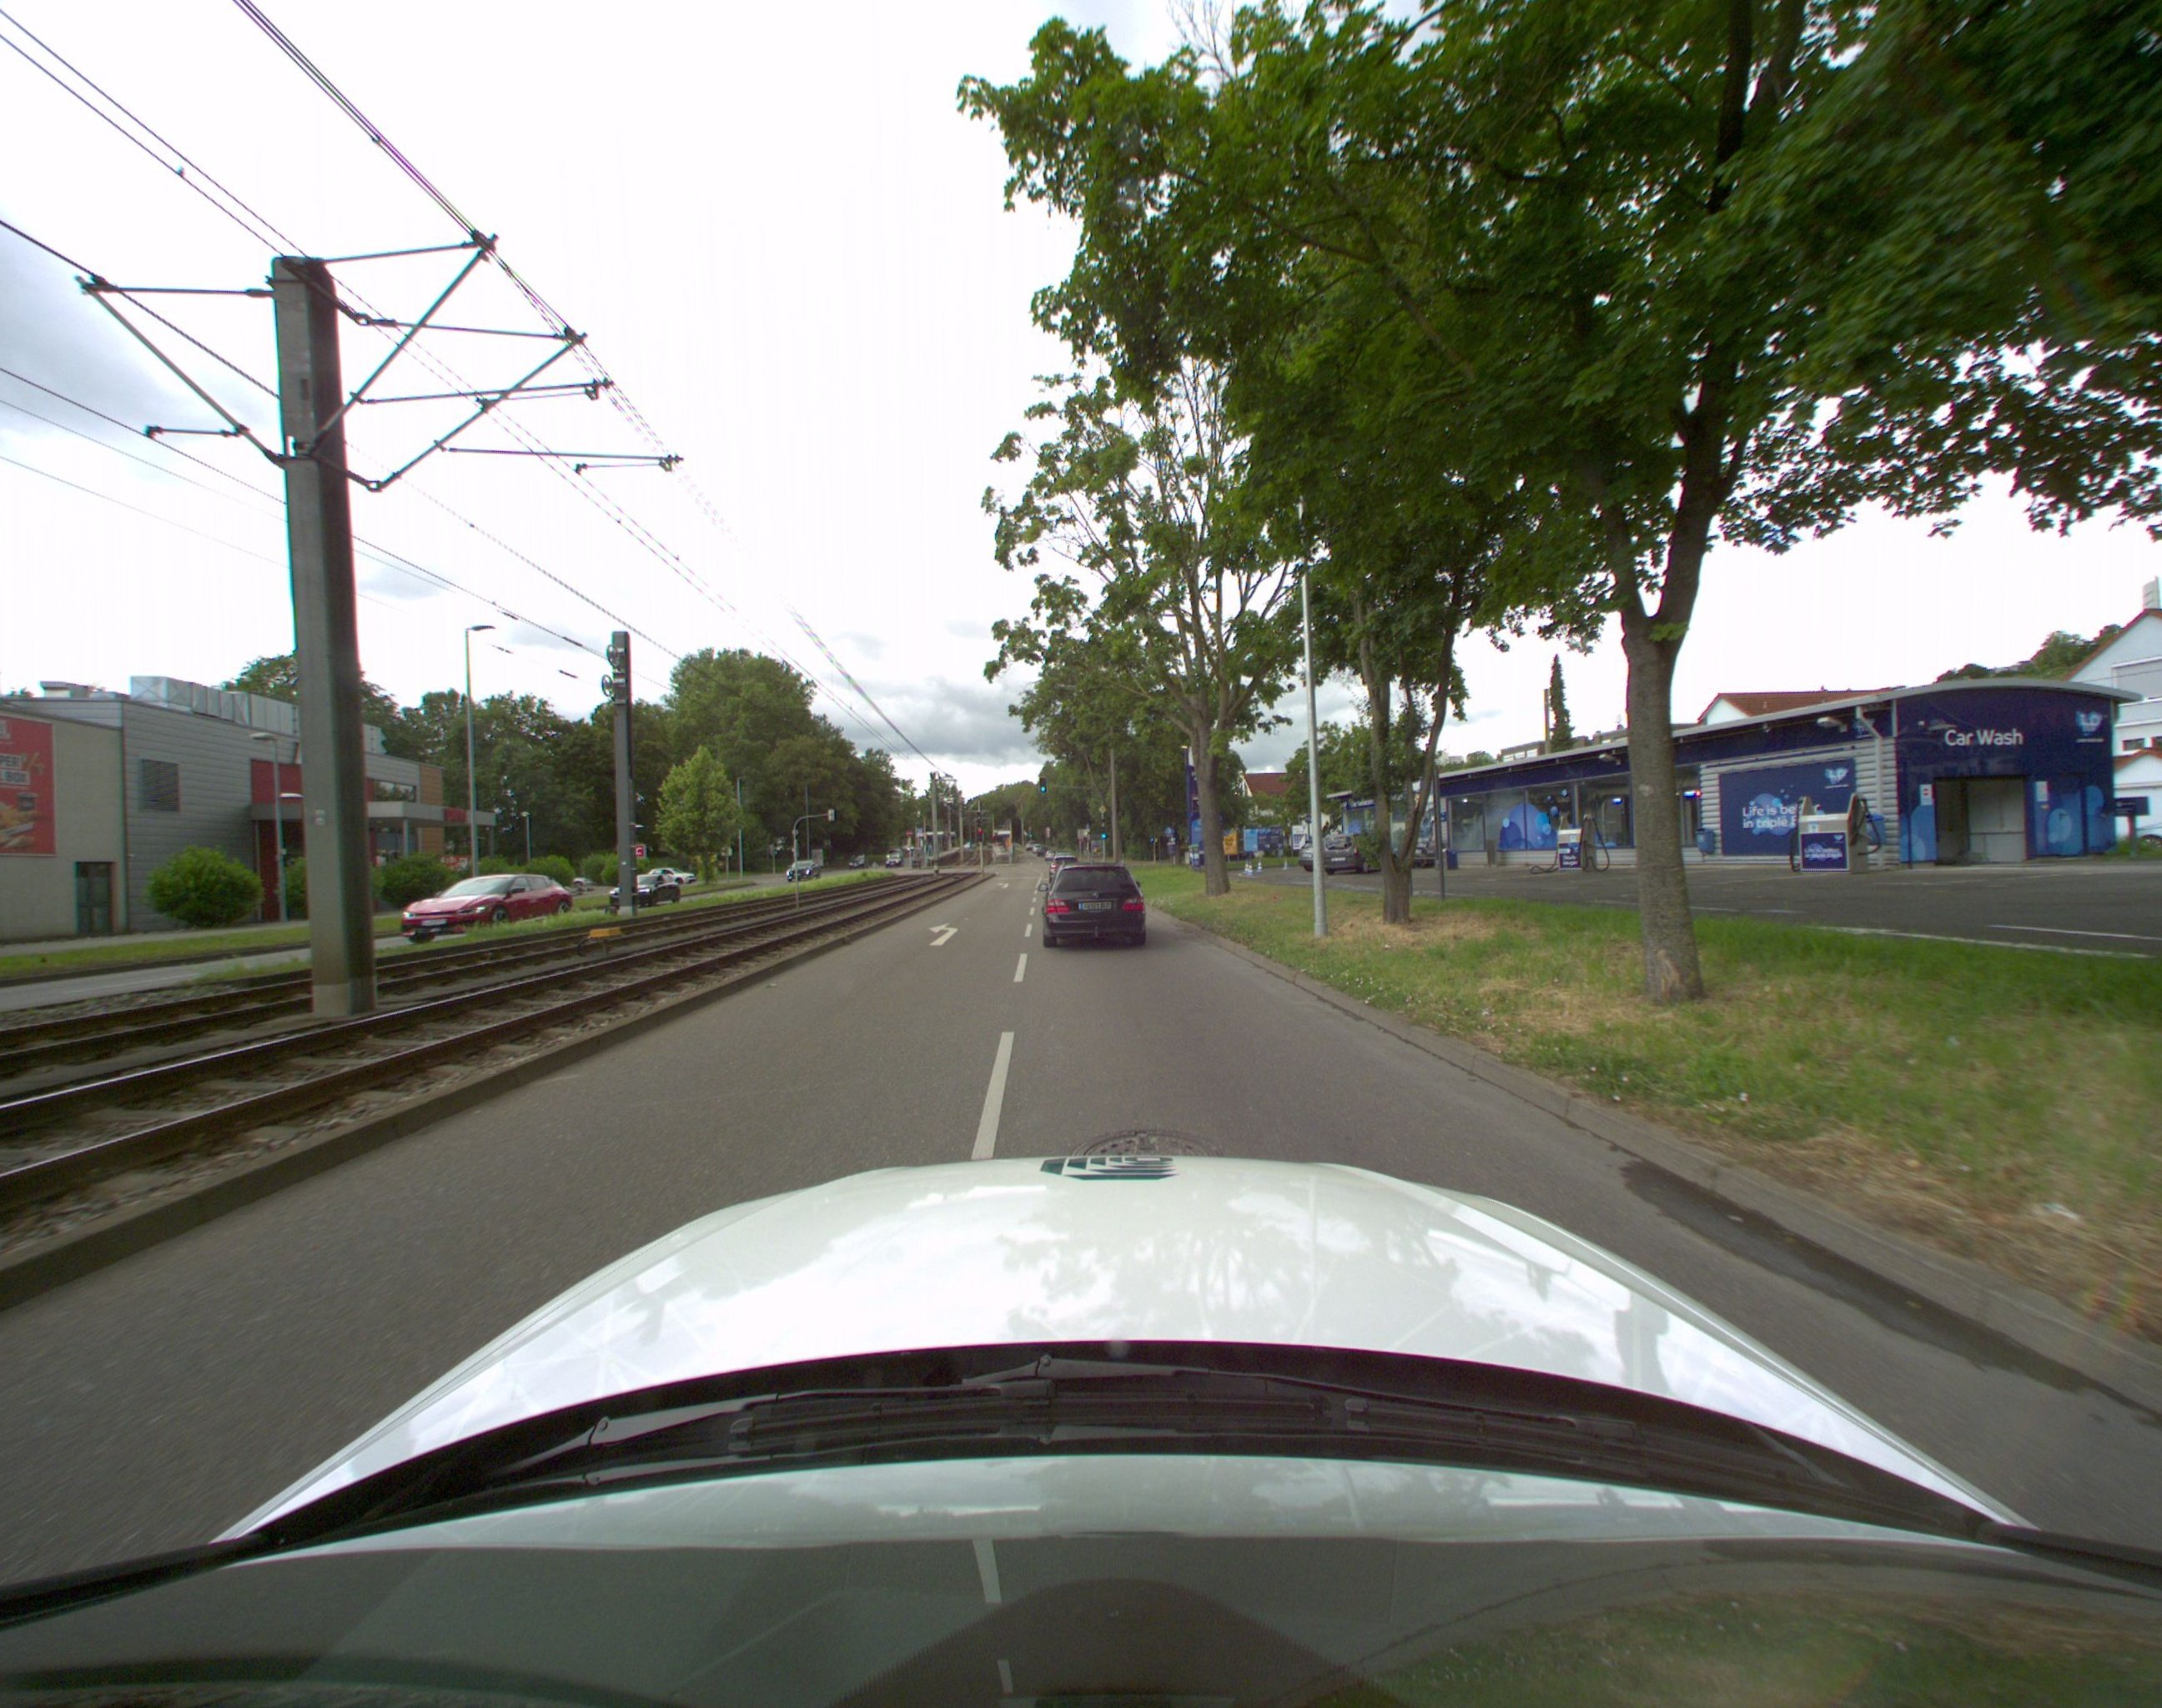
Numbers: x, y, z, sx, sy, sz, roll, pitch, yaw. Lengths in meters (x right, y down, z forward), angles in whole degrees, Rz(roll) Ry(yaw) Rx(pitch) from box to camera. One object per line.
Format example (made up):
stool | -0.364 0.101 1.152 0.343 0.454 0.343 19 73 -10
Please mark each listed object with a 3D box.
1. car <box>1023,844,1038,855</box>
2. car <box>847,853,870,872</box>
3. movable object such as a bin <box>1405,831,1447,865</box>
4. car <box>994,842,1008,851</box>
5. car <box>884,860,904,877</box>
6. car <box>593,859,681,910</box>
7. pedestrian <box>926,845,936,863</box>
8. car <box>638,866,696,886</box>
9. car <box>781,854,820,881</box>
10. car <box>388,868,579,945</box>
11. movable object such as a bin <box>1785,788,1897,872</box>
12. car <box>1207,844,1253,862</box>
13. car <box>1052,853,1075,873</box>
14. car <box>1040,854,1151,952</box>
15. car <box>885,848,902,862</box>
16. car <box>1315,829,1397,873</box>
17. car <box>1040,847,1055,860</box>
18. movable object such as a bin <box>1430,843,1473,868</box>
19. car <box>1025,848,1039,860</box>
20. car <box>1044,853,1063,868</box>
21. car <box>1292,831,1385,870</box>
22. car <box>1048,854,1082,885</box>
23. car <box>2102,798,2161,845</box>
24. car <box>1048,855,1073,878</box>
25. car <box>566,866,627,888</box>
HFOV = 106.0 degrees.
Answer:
car | -9.676 -0.855 156.360 1.999 2.014 3.976 0 0 -18
car | -25.865 0.950 94.754 1.992 2.013 4.097 -2 0 -7
movable object such as a bin | 15.542 -0.264 36.701 1.157 1.474 1.384 -3 0 -7
car | -17.802 -1.618 180.635 2.002 2.014 3.969 0 0 -24
car | -21.162 1.637 92.233 1.695 1.860 3.991 0 0 -7
car | -19.483 1.269 35.948 1.992 2.013 3.990 -2 0 -7
pedestrian | -18.284 0.018 99.249 0.968 2.186 0.974 -2 0 -5
car | -35.086 1.848 69.062 3.872 1.408 1.844 -3 0 -5
car | -22.121 1.041 64.460 1.992 2.013 4.237 -2 0 -7
car | -14.936 1.233 20.728 1.780 1.582 4.473 -4 0 -5
movable object such as a bin | 17.608 -0.534 18.913 1.157 1.818 1.452 -3 0 -7
car | 14.241 -0.086 78.125 4.136 1.526 1.705 -2 -1 2
car | -1.772 0.894 81.452 1.991 1.918 3.991 0 0 -7
car | 0.137 0.794 15.182 1.778 1.525 3.995 -1 0 -3
car | -27.880 0.120 121.240 1.993 2.013 4.871 -3 0 -9
car | 12.531 -0.166 36.948 1.729 1.821 4.411 -3 0 44
car | -5.155 -0.032 123.307 1.991 1.966 3.991 0 0 -7
movable object such as a bin | 15.364 0.053 33.833 1.157 0.976 1.185 -3 0 -7
car | -8.502 -0.021 140.499 1.994 2.014 3.986 0 0 -10
car | -3.492 0.799 102.913 1.991 1.893 3.991 0 0 -7
car | 12.959 -0.180 40.983 4.215 1.697 1.827 -3 1 -21
car | -0.859 0.825 45.014 1.776 1.648 3.999 0 0 0
car | 37.782 -1.128 27.374 1.786 1.575 3.974 0 0 -19
car | -1.470 0.877 60.468 1.776 1.648 3.999 0 0 0
car | -40.686 1.915 68.458 3.981 1.552 1.843 -3 0 -6
